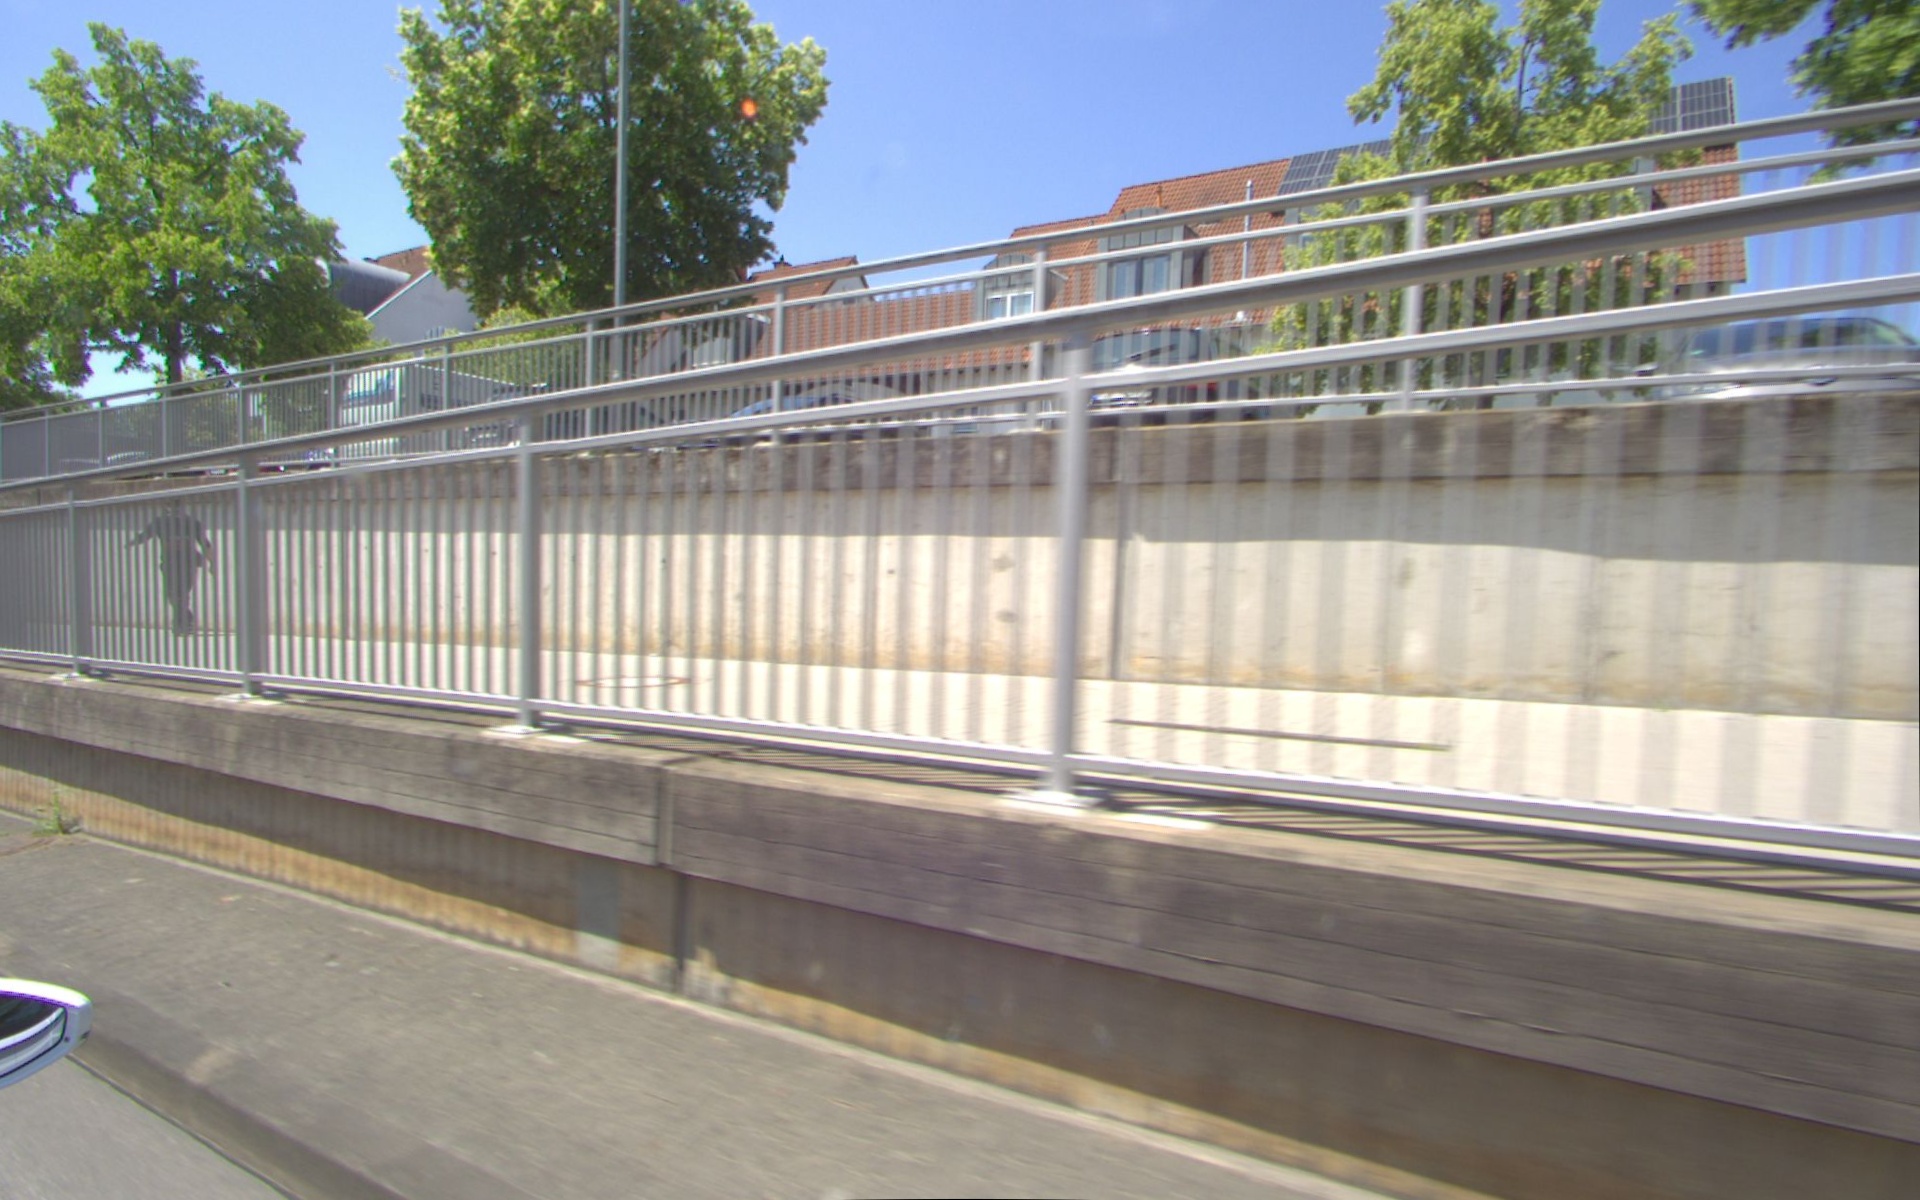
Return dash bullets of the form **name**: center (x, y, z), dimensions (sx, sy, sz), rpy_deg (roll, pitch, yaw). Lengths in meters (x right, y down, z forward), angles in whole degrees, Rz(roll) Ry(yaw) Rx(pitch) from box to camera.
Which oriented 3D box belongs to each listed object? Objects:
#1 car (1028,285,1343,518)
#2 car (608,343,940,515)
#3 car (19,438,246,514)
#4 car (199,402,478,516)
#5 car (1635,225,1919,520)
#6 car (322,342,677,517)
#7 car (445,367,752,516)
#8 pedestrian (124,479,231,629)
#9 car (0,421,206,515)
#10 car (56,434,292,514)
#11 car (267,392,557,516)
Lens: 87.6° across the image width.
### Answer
- **car**: center (2.448, -1.719, 9.991), dimensions (1.662, 1.519, 4.194), rpy_deg (3, 2, 33)
- **car**: center (-2.182, -2.004, 12.896), dimensions (1.723, 1.519, 4.275), rpy_deg (3, 2, 33)
- **car**: center (-19.707, -2.883, 24.005), dimensions (1.662, 1.386, 3.896), rpy_deg (3, 2, 33)
- **car**: center (-11.570, -2.541, 18.931), dimensions (1.662, 1.618, 4.194), rpy_deg (3, 2, 33)
- **car**: center (6.486, -1.524, 7.949), dimensions (1.723, 1.519, 3.977), rpy_deg (3, 2, 33)
- **car**: center (-7.359, -2.589, 16.605), dimensions (1.960, 2.092, 5.100), rpy_deg (3, 2, 33)
- **car**: center (-5.239, -2.223, 15.061), dimensions (1.662, 1.618, 4.194), rpy_deg (3, 2, 33)
- **pedestrian**: center (-9.832, -0.556, 12.598), dimensions (0.777, 1.806, 0.834), rpy_deg (1, 1, 33)
- **car**: center (-21.706, -3.246, 25.329), dimensions (1.662, 1.911, 3.896), rpy_deg (3, 2, 33)
- **car**: center (-17.681, -2.775, 22.710), dimensions (1.662, 1.386, 3.896), rpy_deg (3, 2, 33)
- **car**: center (-9.415, -2.421, 17.539), dimensions (1.662, 1.618, 4.194), rpy_deg (3, 2, 33)
